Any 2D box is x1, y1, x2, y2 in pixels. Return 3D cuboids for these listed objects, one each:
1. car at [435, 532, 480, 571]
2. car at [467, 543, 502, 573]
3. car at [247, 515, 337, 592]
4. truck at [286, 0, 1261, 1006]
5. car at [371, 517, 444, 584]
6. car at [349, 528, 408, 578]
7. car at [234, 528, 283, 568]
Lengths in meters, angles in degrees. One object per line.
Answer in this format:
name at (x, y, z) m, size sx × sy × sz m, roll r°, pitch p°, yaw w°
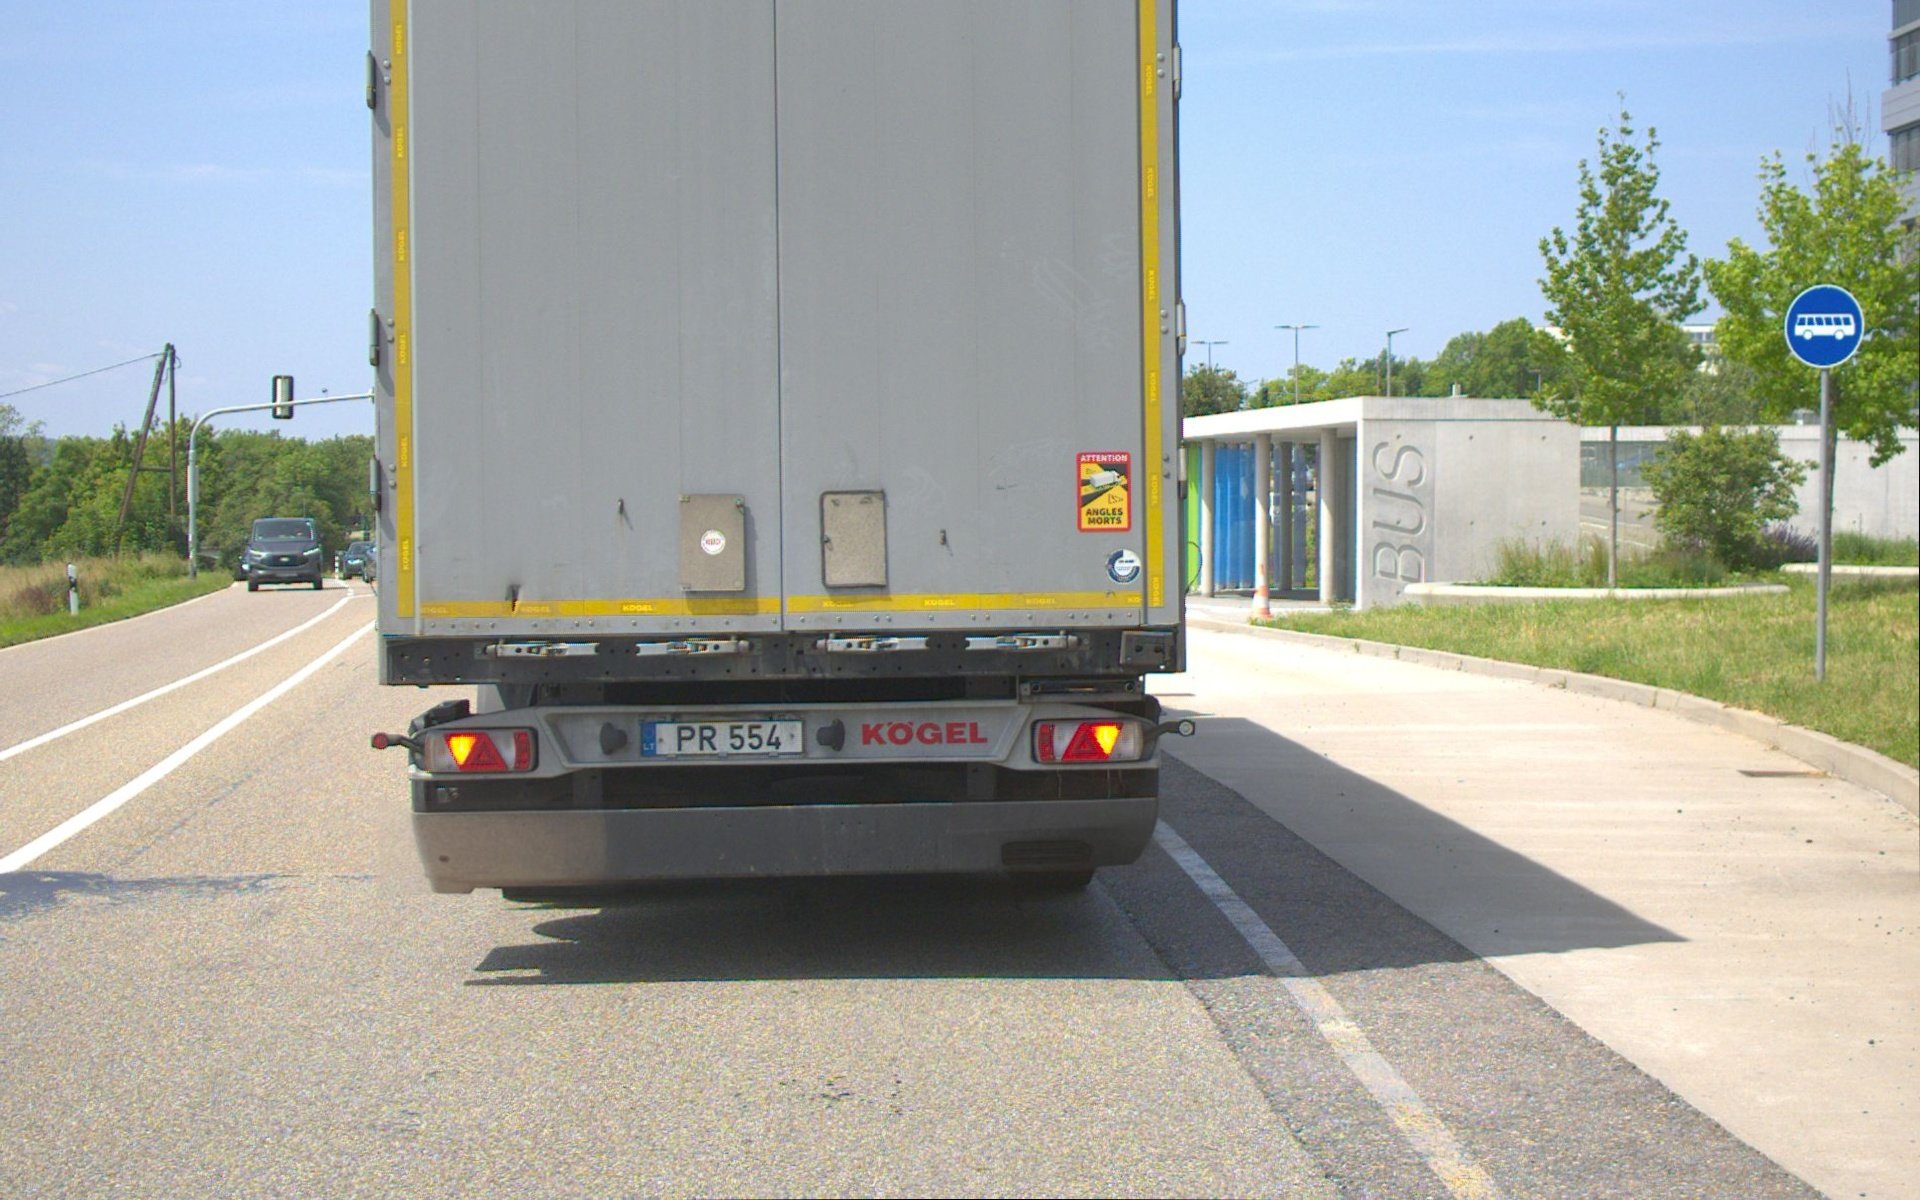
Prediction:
car at (-27.498, -2.689, 188.284) m, size 2.171 × 2.006 × 4.527 m, roll -2°, pitch 1°, yaw -5°
car at (-29.700, -2.656, 214.920) m, size 1.892 × 1.770 × 4.387 m, roll -2°, pitch 1°, yaw -5°
car at (-18.157, -1.293, 93.611) m, size 1.993 × 1.971 × 5.280 m, roll -2°, pitch 2°, yaw -7°
truck at (-0.805, -1.084, 14.744) m, size 2.907 × 4.394 × 8.861 m, roll 0°, pitch 1°, yaw -3°
car at (-17.178, -1.555, 107.031) m, size 1.993 × 1.943 × 4.504 m, roll -2°, pitch 1°, yaw -7°
car at (-22.552, -1.857, 133.504) m, size 1.993 × 1.809 × 4.297 m, roll -3°, pitch 2°, yaw -7°
car at (-32.598, -2.409, 159.813) m, size 1.993 × 1.781 × 4.001 m, roll -2°, pitch 1°, yaw -9°
